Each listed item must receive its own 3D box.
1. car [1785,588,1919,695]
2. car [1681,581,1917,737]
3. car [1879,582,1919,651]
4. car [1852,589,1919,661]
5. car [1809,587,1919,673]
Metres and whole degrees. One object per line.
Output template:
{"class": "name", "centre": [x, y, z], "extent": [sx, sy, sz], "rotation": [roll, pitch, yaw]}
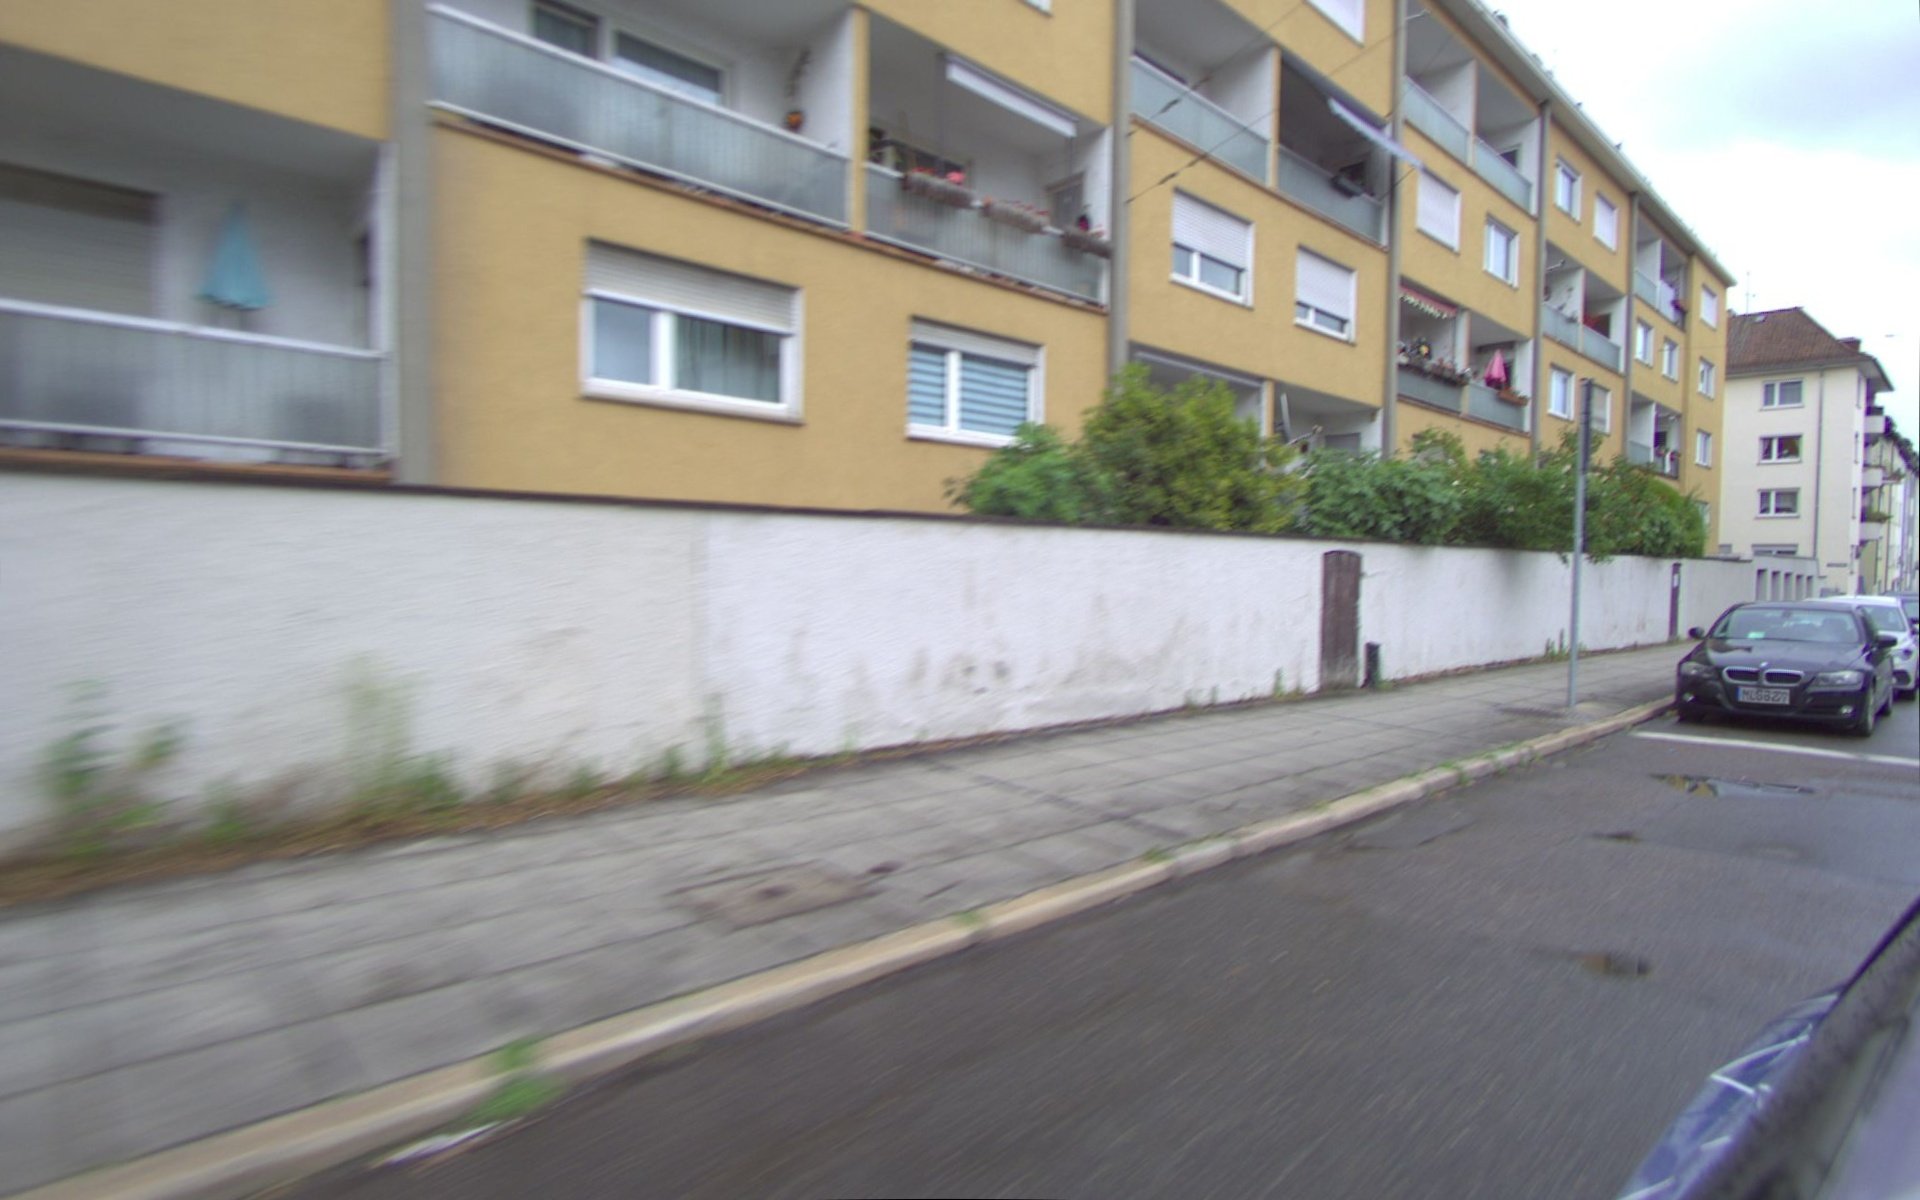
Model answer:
{"class": "car", "centre": [14.259, 0.570, 15.901], "extent": [1.648, 1.478, 4.036], "rotation": [1, 1, 45]}
{"class": "car", "centre": [10.303, 0.553, 12.304], "extent": [4.405, 1.478, 1.731], "rotation": [-2, 2, -44]}
{"class": "car", "centre": [26.451, 0.406, 27.553], "extent": [4.501, 1.667, 1.803], "rotation": [-2, 3, -44]}
{"class": "car", "centre": [22.256, 0.526, 23.543], "extent": [4.378, 1.444, 1.913], "rotation": [-2, 2, -44]}
{"class": "car", "centre": [18.060, 0.519, 19.939], "extent": [3.496, 1.471, 1.687], "rotation": [-2, 2, -44]}
